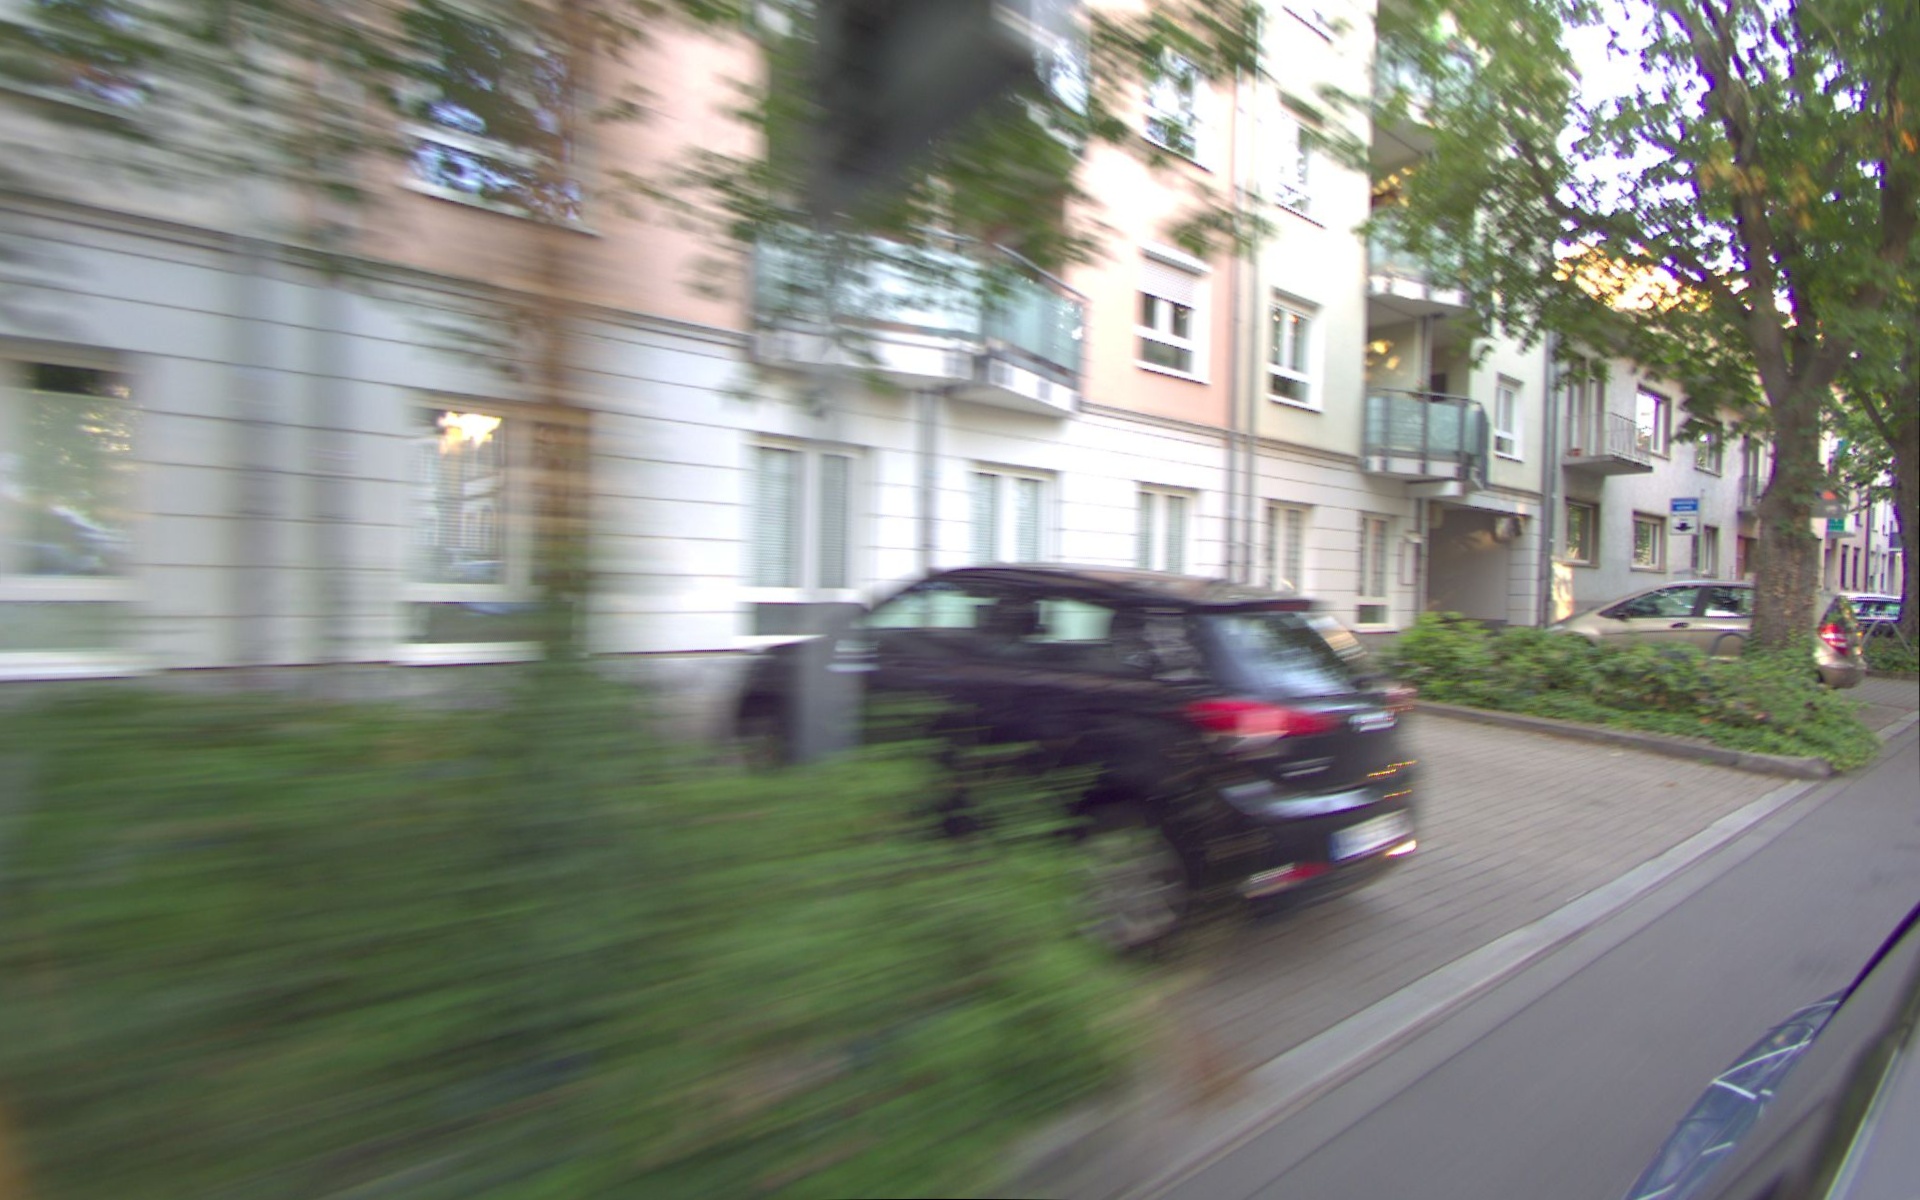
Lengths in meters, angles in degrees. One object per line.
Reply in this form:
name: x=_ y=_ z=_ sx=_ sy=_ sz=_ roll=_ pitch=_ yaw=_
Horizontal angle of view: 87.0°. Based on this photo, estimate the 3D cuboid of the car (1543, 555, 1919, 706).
car: x=10.801 y=0.309 z=14.402 sx=1.892 sy=1.687 sz=3.872 roll=0 pitch=4 yaw=-40

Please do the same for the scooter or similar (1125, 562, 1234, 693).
scooter or similar: x=2.235 y=0.256 z=10.249 sx=1.231 sy=1.256 sz=0.400 roll=0 pitch=1 yaw=-41

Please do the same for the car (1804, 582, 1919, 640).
car: x=27.143 y=0.317 z=28.813 sx=1.916 sy=1.542 sz=4.458 roll=0 pitch=2 yaw=-39

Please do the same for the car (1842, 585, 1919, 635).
car: x=31.812 y=0.397 z=32.775 sx=1.665 sy=1.488 sz=4.597 roll=0 pitch=4 yaw=-38

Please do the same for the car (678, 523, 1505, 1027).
car: x=0.361 y=0.460 z=5.359 sx=1.882 sy=1.492 sz=3.993 roll=0 pitch=5 yaw=-44

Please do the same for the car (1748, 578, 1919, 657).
car: x=20.656 y=0.404 z=22.672 sx=1.698 sy=1.487 sz=4.375 roll=1 pitch=4 yaw=-35
